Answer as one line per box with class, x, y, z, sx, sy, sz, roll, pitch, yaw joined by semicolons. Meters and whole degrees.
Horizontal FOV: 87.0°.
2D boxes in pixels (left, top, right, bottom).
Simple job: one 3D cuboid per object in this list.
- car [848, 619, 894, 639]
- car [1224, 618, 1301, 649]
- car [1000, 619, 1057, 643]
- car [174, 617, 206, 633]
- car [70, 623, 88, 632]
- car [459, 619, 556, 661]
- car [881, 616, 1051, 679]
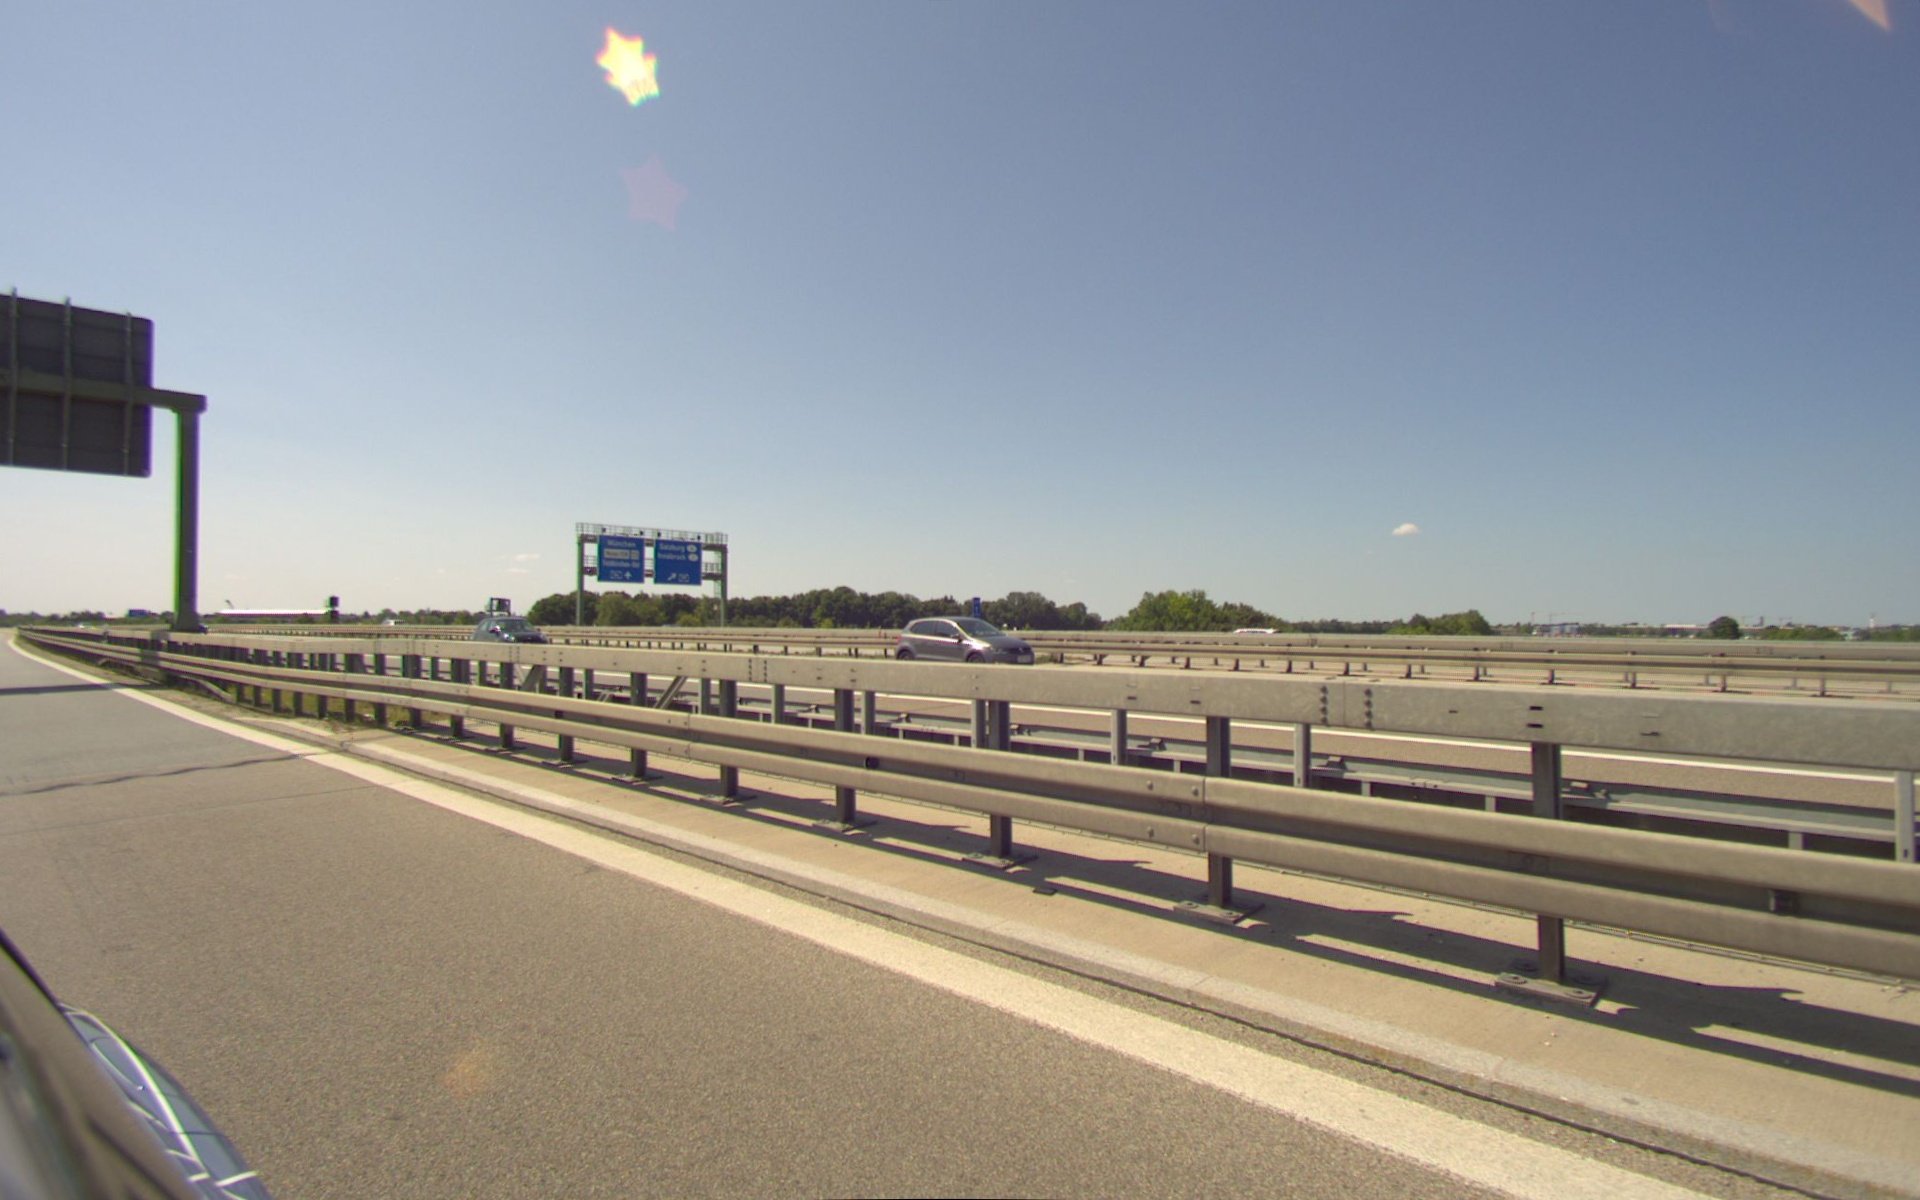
car;-6.765;2.210;76.696;3.344;1.364;1.561;2;0;43
car;15.158;1.655;50.741;3.344;1.364;1.561;2;0;43
car;4.333;1.957;64.214;3.344;1.364;1.561;2;0;43
car;-75.028;2.443;98.602;4.577;1.529;1.817;-1;-1;44
car;-141.459;4.395;162.457;4.577;1.529;1.817;-1;-1;44
car;-16.719;1.445;37.313;4.218;1.443;1.809;-1;-1;44
car;0.079;1.130;25.184;4.217;1.433;1.743;-1;-1;44
